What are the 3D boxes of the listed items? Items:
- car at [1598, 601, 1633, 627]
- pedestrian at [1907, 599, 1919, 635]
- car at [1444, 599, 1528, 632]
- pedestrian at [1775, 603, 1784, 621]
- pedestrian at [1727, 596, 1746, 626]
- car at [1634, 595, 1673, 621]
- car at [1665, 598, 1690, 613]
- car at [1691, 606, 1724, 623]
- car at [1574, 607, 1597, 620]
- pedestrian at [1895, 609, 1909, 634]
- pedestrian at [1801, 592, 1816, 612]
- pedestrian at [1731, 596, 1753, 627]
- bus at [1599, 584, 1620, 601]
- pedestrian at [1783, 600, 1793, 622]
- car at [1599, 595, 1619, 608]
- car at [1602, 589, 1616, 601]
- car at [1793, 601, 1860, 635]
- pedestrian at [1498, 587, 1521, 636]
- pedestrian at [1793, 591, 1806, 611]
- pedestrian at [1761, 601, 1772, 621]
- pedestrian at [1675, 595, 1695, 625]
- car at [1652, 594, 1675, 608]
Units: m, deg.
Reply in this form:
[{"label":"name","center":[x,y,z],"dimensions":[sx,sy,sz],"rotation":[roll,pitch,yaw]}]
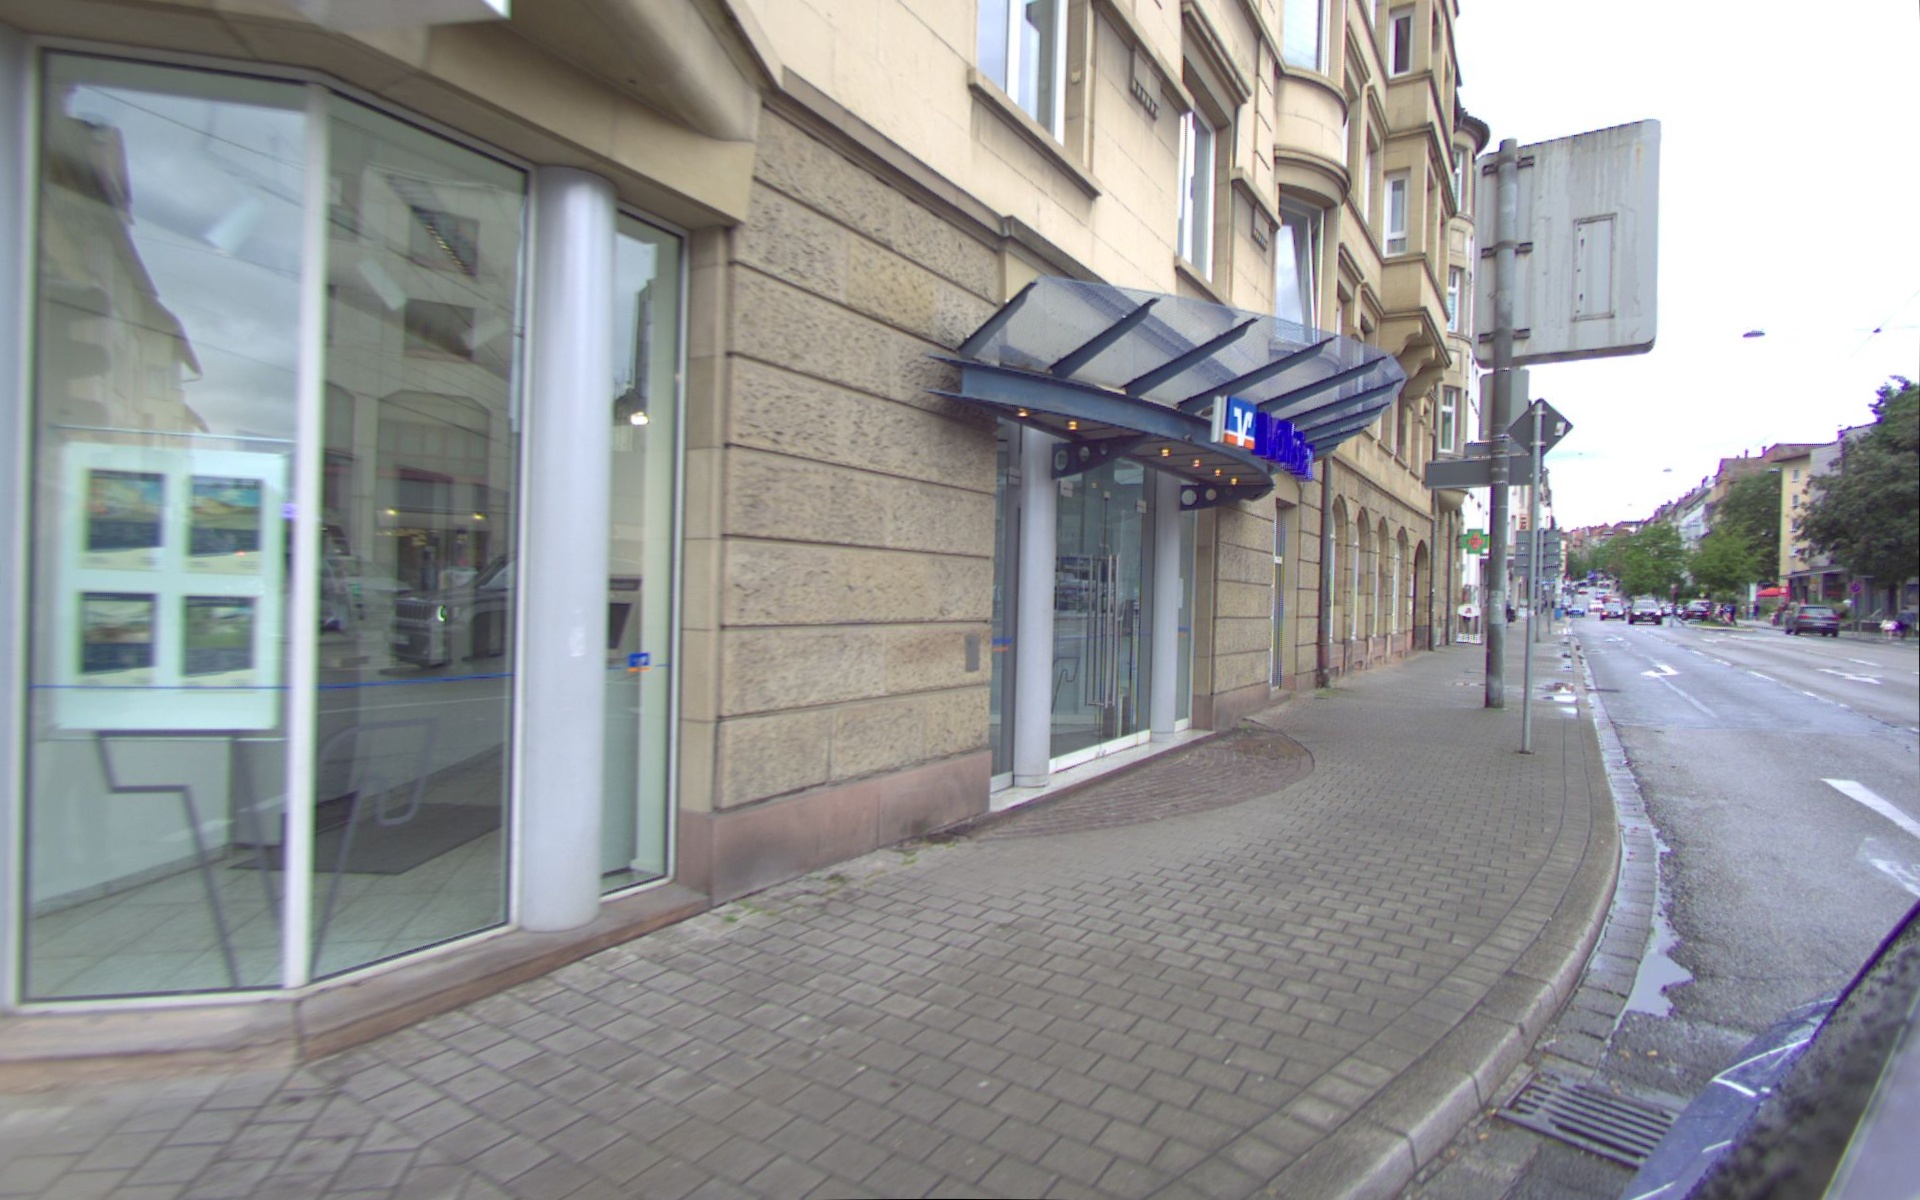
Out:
[{"label":"car","center":[55.006,1.133,84.983],"dimensions":[1.981,2.039,3.962],"rotation":[1,0,27]},{"label":"pedestrian","center":[47.590,0.829,50.294],"dimensions":[0.570,1.784,0.576],"rotation":[1,0,25]},{"label":"car","center":[30.740,0.898,59.259],"dimensions":[4.101,1.794,1.860],"rotation":[1,0,21]},{"label":"pedestrian","center":[64.120,0.953,79.172],"dimensions":[0.430,1.428,0.476],"rotation":[1,0,28]},{"label":"pedestrian","center":[48.299,0.675,62.946],"dimensions":[0.647,1.781,0.718],"rotation":[1,0,13]},{"label":"car","center":[47.728,0.533,69.733],"dimensions":[1.842,1.677,4.160],"rotation":[1,0,30]},{"label":"car","center":[79.414,0.576,112.045],"dimensions":[1.811,1.588,4.046],"rotation":[4,2,30]},{"label":"car","center":[70.021,1.351,94.827],"dimensions":[2.004,1.443,4.449],"rotation":[1,0,31]},{"label":"car","center":[66.934,1.419,108.340],"dimensions":[1.723,1.326,3.732],"rotation":[1,0,26]},{"label":"pedestrian","center":[47.066,1.068,50.562],"dimensions":[0.406,1.213,0.308],"rotation":[1,0,26]},{"label":"pedestrian","center":[71.800,0.177,85.624],"dimensions":[0.784,1.699,0.714],"rotation":[1,0,-31]},{"label":"pedestrian","center":[48.082,0.706,62.214],"dimensions":[0.851,1.868,0.690],"rotation":[1,0,17]},{"label":"bus","center":[137.954,-1.641,215.113],"dimensions":[2.793,3.284,11.836],"rotation":[6,4,30]},{"label":"pedestrian","center":[64.571,0.842,78.905],"dimensions":[0.495,1.694,0.547],"rotation":[1,0,28]},{"label":"car","center":[85.289,0.171,133.028],"dimensions":[1.945,1.576,4.199],"rotation":[3,2,29]},{"label":"car","center":[121.405,-0.914,189.313],"dimensions":[1.984,2.039,3.956],"rotation":[1,0,31]},{"label":"car","center":[45.799,0.901,53.548],"dimensions":[1.938,1.680,4.014],"rotation":[1,1,30]},{"label":"pedestrian","center":[20.175,0.406,37.170],"dimensions":[0.669,1.741,0.891],"rotation":[2,1,31]},{"label":"pedestrian","center":[72.435,0.070,87.302],"dimensions":[0.710,1.699,0.705],"rotation":[1,0,31]},{"label":"pedestrian","center":[75.623,1.053,94.908],"dimensions":[0.584,1.842,0.864],"rotation":[1,0,23]},{"label":"pedestrian","center":[44.895,0.609,62.666],"dimensions":[0.711,1.849,0.852],"rotation":[1,-1,9]},{"label":"car","center":[88.571,0.105,127.458],"dimensions":[1.945,1.576,4.199],"rotation":[3,2,29]}]
